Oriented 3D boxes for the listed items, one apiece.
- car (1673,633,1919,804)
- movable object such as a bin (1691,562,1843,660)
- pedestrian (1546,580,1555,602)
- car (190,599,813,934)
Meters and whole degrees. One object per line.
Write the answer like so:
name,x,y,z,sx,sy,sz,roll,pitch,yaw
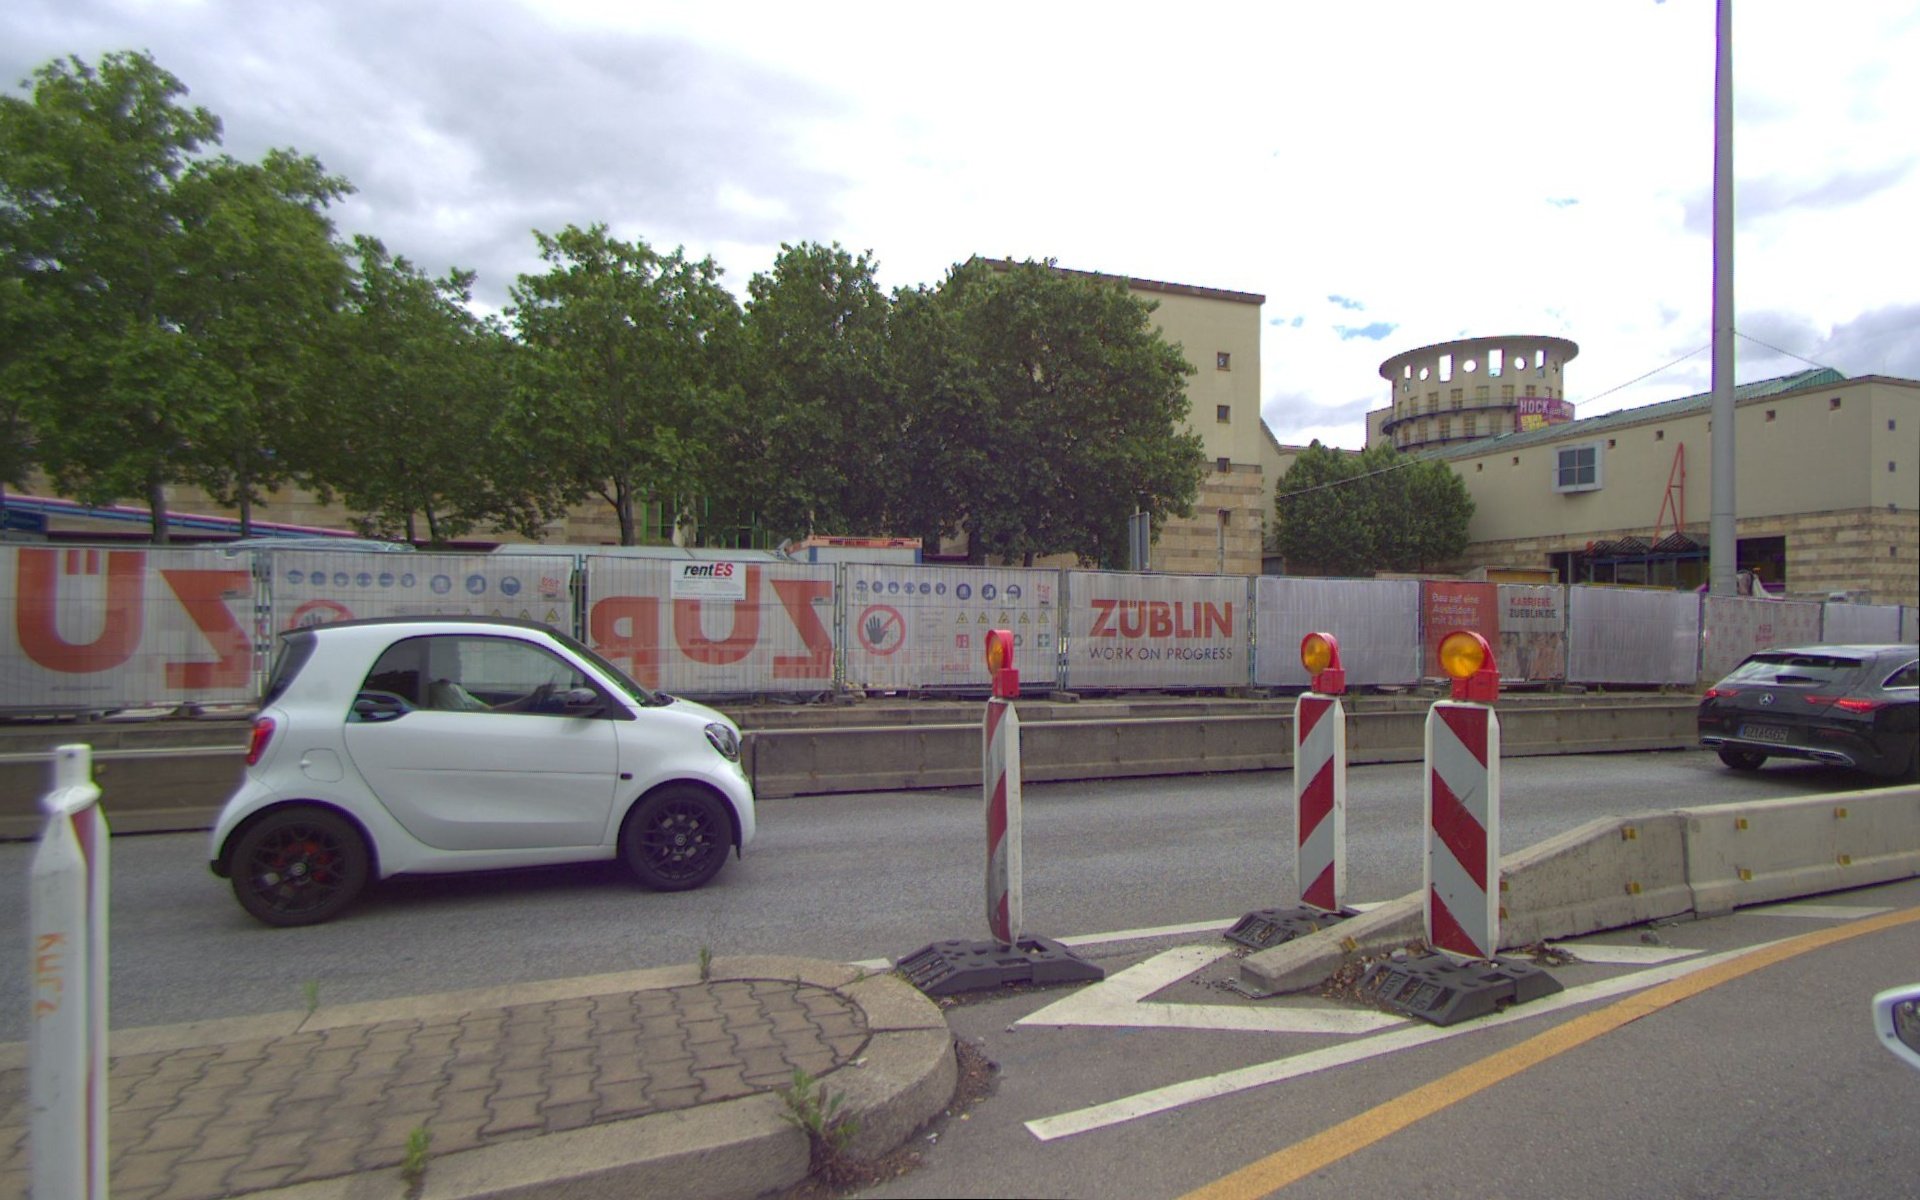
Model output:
car,10.008,1.134,10.639,4.498,1.434,1.851,1,0,-22
movable object such as a bin,19.248,0.282,23.955,3.246,2.214,1.518,1,-1,-24
pedestrian,55.243,-0.800,93.951,0.591,2.041,0.411,2,1,-19
car,-2.531,0.816,6.047,2.958,1.575,1.627,1,0,-22
